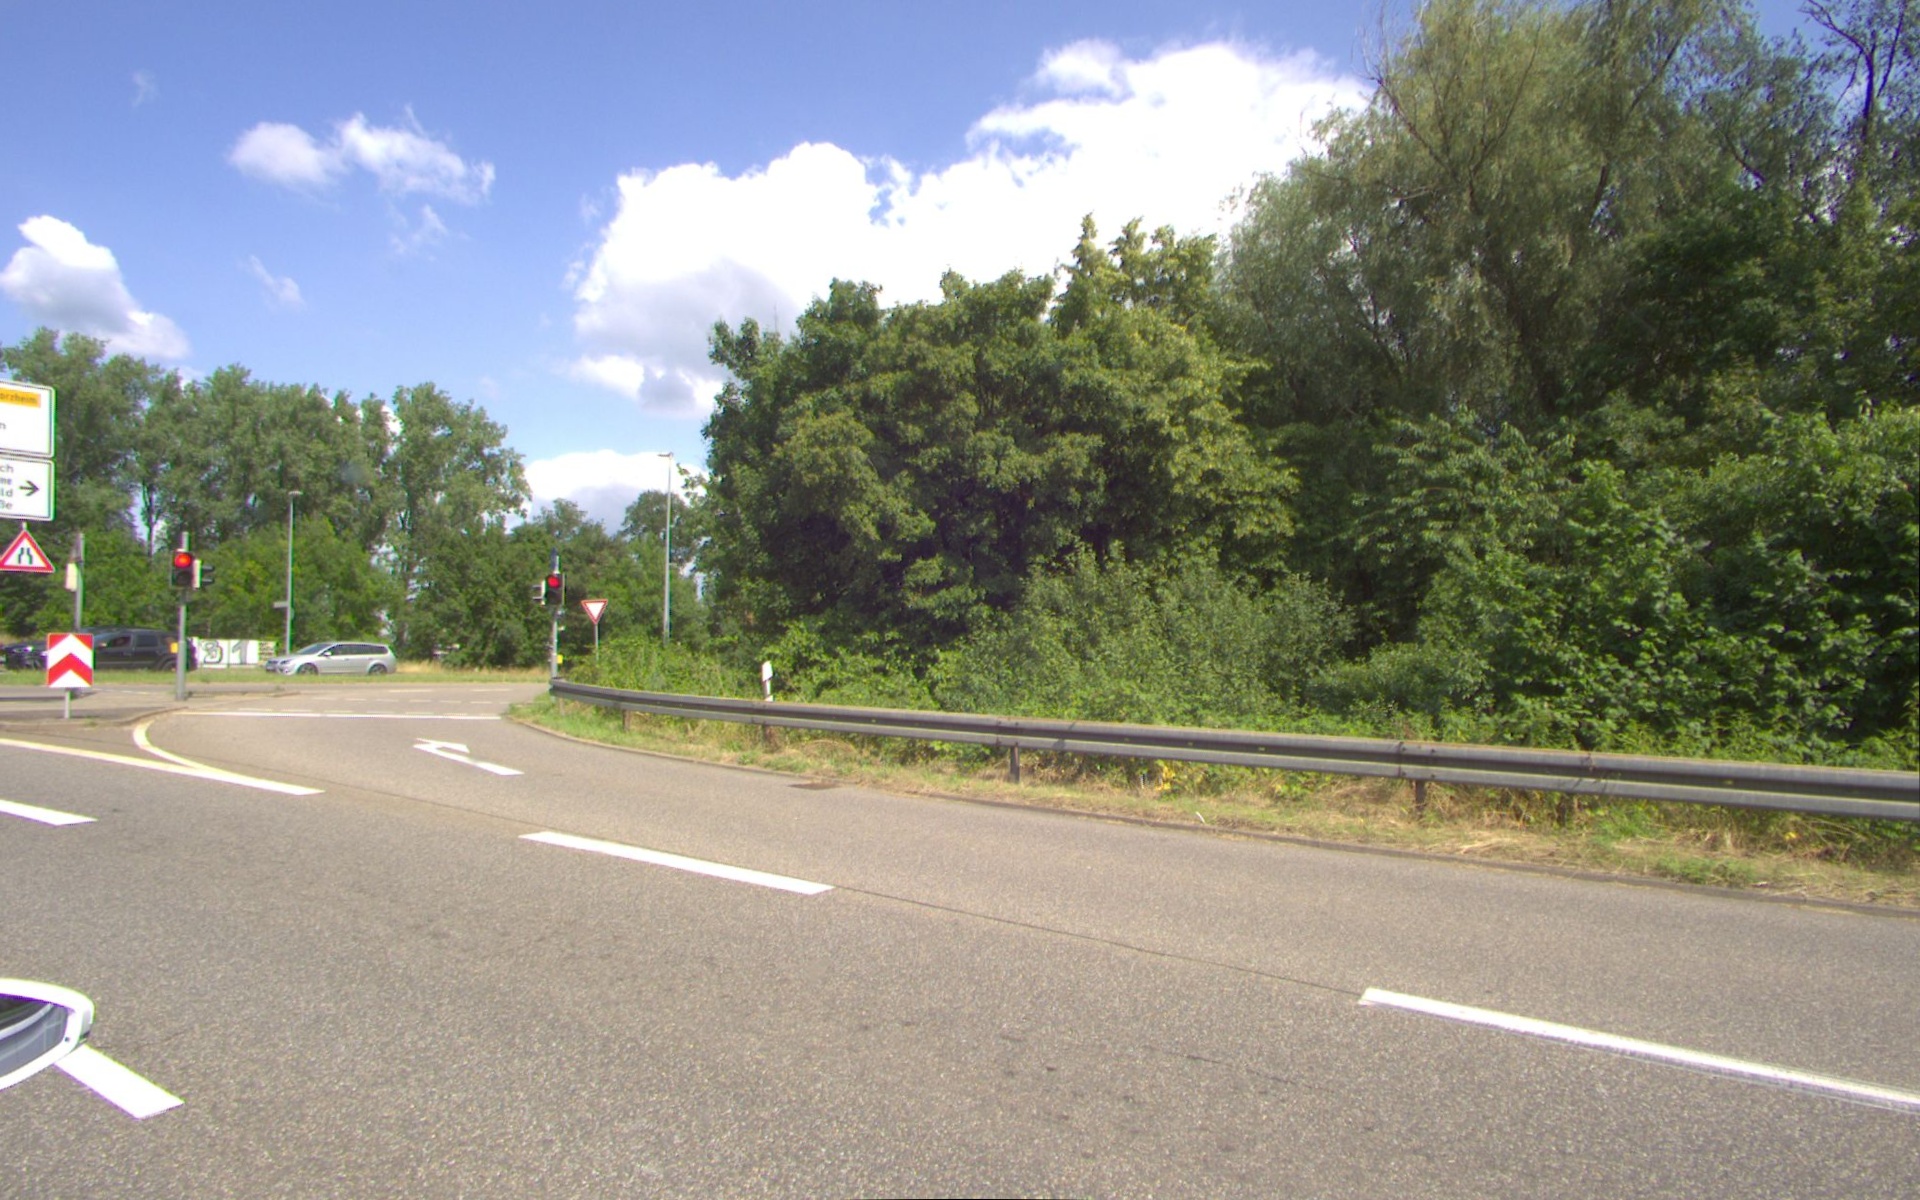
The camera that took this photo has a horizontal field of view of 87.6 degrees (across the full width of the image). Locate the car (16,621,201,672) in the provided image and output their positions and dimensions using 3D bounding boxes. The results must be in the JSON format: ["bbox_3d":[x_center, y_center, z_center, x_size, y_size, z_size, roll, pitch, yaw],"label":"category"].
[{"bbox_3d":[-27.588,1.514,32.596,1.711,1.564,4.264,0,-3,31],"label":"car"}]

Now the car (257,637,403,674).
[{"bbox_3d":[-24.112,2.117,38.507,1.710,1.337,4.471,0,-3,29],"label":"car"}]

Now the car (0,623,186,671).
[{"bbox_3d":[-30.444,1.643,35.190,1.711,1.564,4.842,0,-3,31],"label":"car"}]

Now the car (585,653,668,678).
[{"bbox_3d":[-18.810,3.676,56.664,1.710,1.297,4.491,0,-3,29],"label":"car"}]
